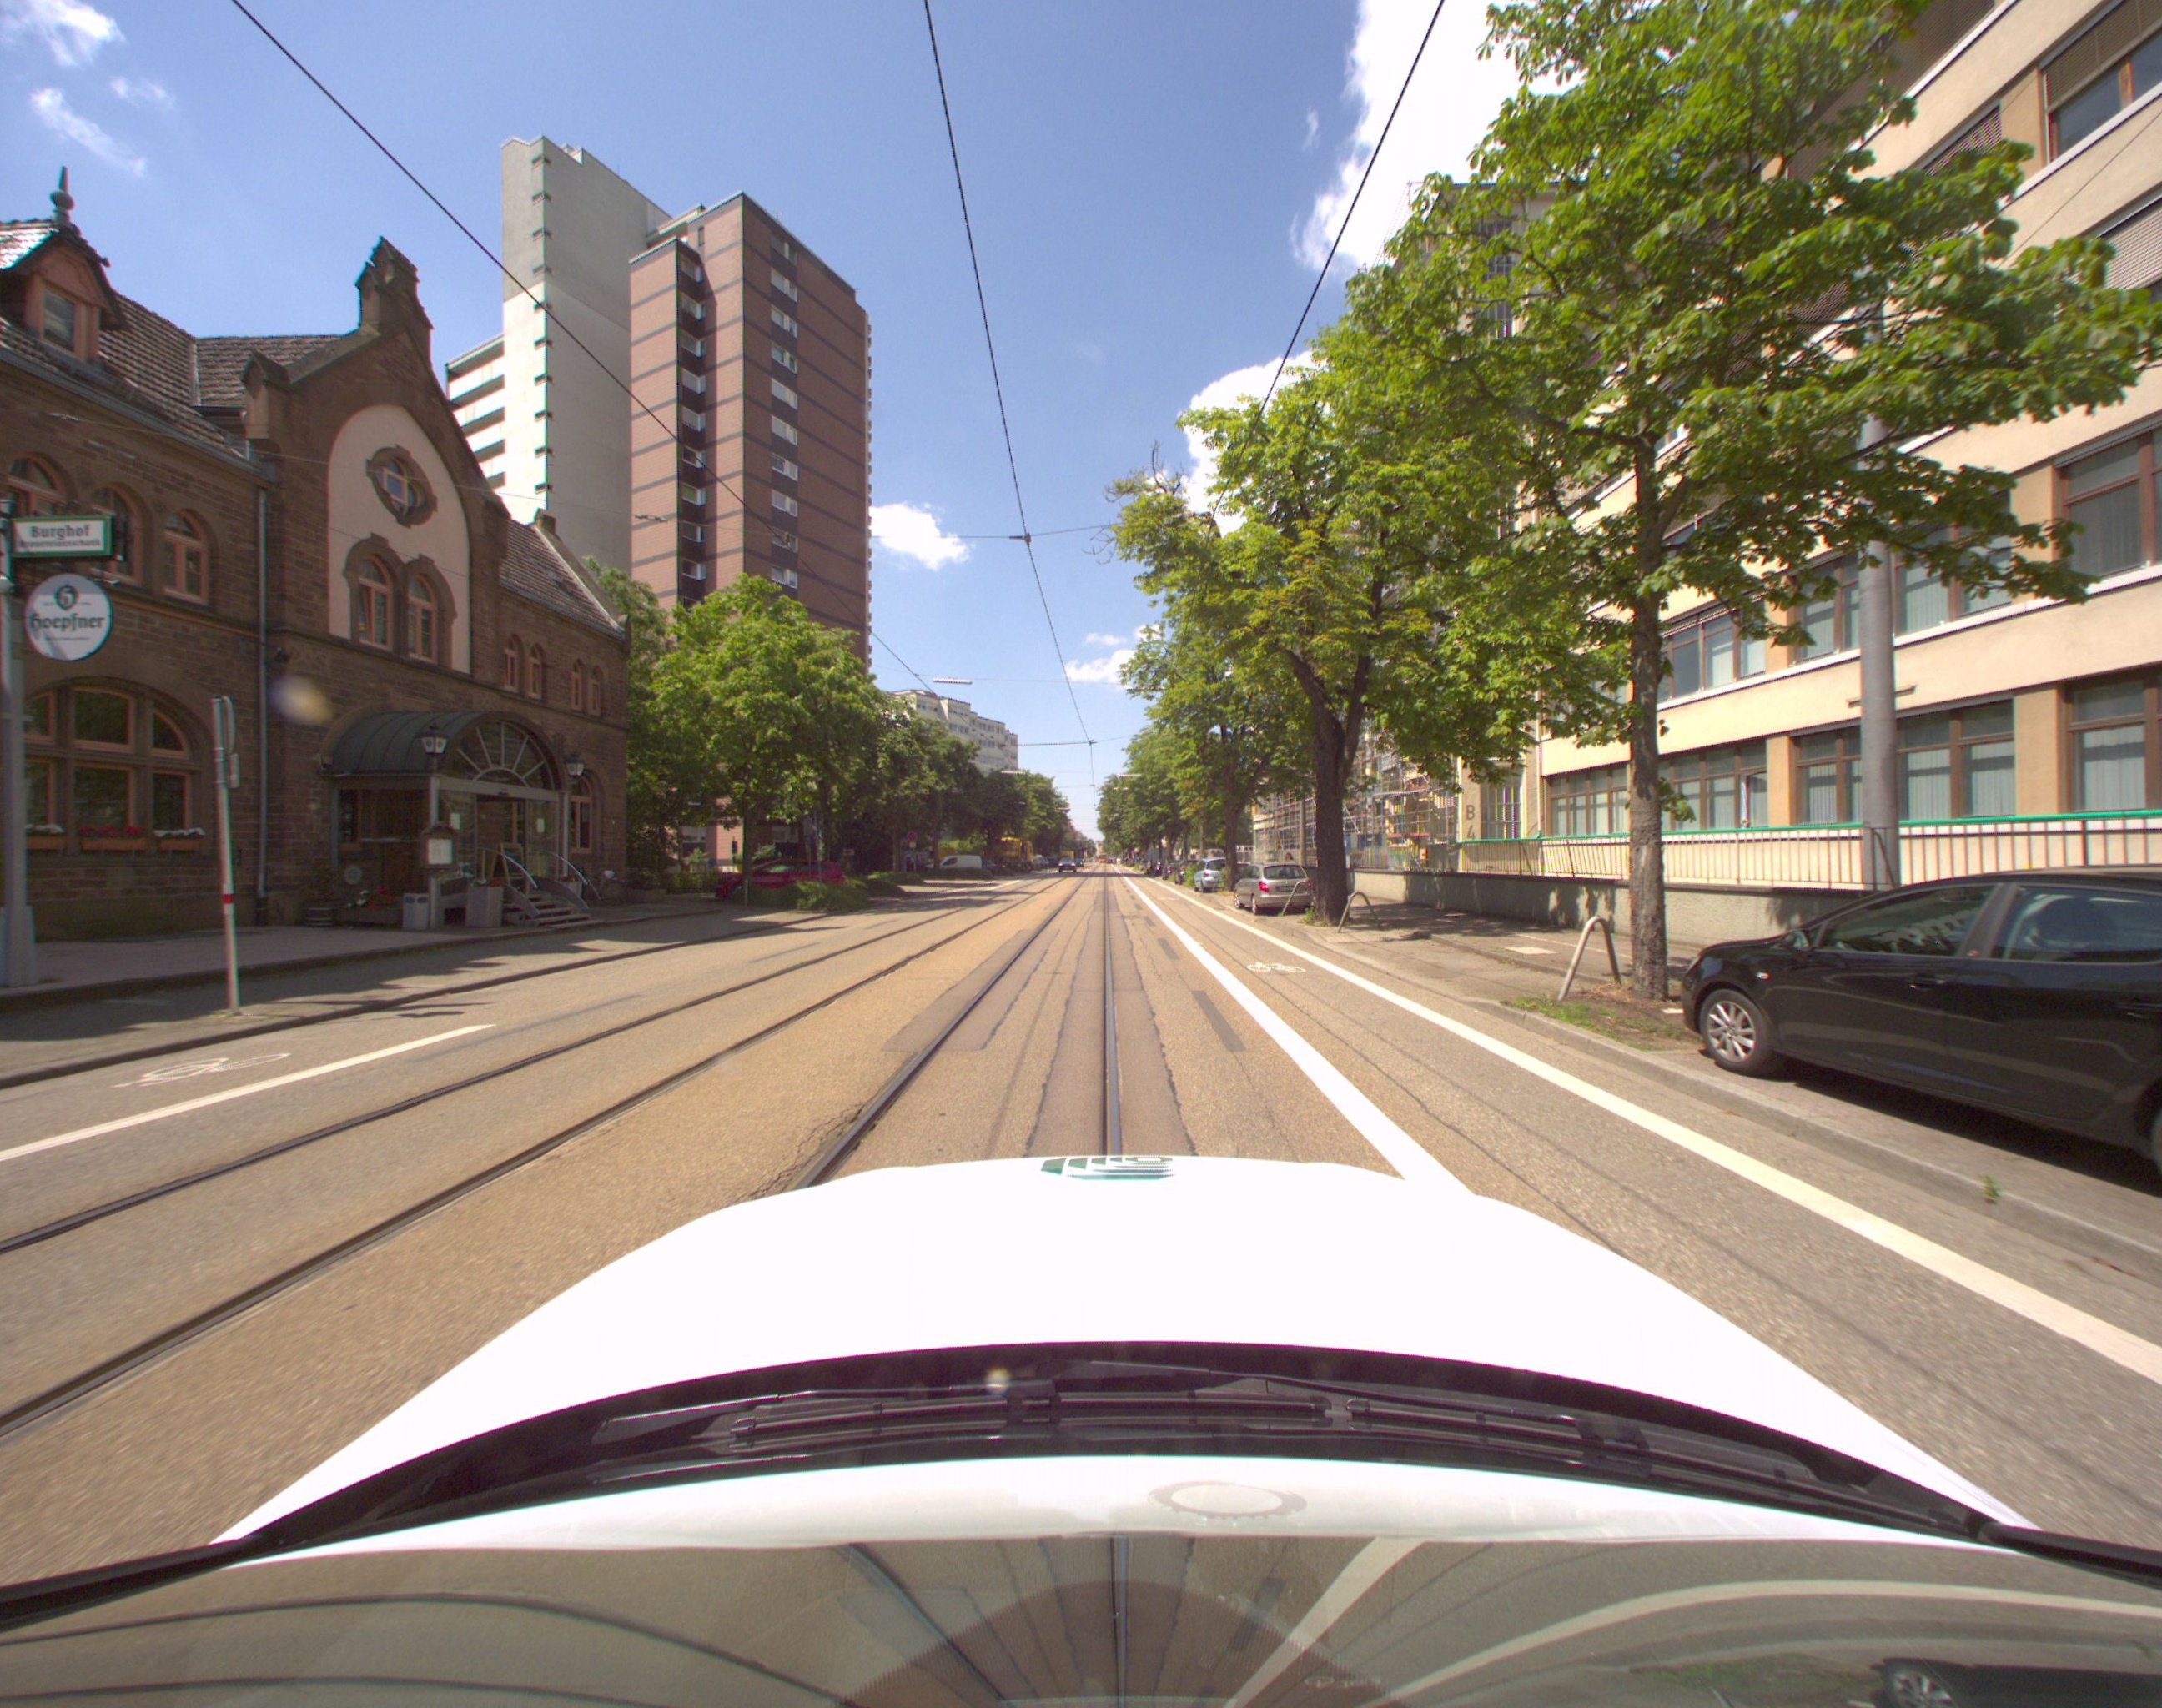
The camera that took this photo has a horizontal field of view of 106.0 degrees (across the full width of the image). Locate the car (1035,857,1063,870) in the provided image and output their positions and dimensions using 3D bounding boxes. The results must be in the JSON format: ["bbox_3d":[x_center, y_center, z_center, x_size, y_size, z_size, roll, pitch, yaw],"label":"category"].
[{"bbox_3d":[-5.819,1.726,148.097,4.785,2.062,2.003,-2,-1,-38],"label":"car"}]

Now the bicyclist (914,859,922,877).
[{"bbox_3d":[-13.165,1.126,65.687,0.479,1.481,0.780,0,-1,0],"label":"bicyclist"}]

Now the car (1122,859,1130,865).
[{"bbox_3d":[10.554,1.933,192.674,1.704,1.423,4.310,-2,-1,1],"label":"car"}]

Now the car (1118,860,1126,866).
[{"bbox_3d":[10.611,2.418,210.634,1.704,1.423,4.310,-2,-1,1],"label":"car"}]

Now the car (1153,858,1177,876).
[{"bbox_3d":[7.022,1.060,68.443,1.816,1.471,4.405,-1,0,4],"label":"car"}]

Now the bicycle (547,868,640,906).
[{"bbox_3d":[-13.049,0.895,21.859,1.999,0.891,0.594,4,-1,-16],"label":"bicycle"}]

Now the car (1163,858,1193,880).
[{"bbox_3d":[6.765,1.027,57.308,1.817,1.471,4.489,-1,0,3],"label":"car"}]

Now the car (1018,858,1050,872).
[{"bbox_3d":[-6.997,1.626,121.972,1.898,1.935,4.785,-4,-1,44],"label":"car"}]

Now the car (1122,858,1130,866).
[{"bbox_3d":[9.508,1.620,173.546,1.586,1.617,3.908,-2,-1,1],"label":"car"}]

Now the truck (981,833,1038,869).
[{"bbox_3d":[-7.967,-0.273,92.481,2.695,3.842,11.009,0,-1,16],"label":"truck"}]

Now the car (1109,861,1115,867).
[{"bbox_3d":[8.342,2.677,218.811,1.774,1.346,3.417,-1,-1,2],"label":"car"}]

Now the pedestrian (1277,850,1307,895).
[{"bbox_3d":[7.691,0.662,29.698,0.797,1.589,0.919,-2,0,0],"label":"pedestrian"}]

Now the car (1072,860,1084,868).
[{"bbox_3d":[-0.514,1.637,134.188,1.767,1.397,4.289,-2,0,2],"label":"car"}]

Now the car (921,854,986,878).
[{"bbox_3d":[-9.846,0.902,62.929,4.563,1.791,1.882,1,0,-31],"label":"car"}]

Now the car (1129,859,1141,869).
[{"bbox_3d":[8.776,1.633,132.347,1.634,1.485,3.870,-2,-1,-1],"label":"car"}]

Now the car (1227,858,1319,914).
[{"bbox_3d":[5.701,0.896,24.746,1.666,1.499,4.363,-1,0,-1],"label":"car"}]

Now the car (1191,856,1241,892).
[{"bbox_3d":[6.207,0.881,37.733,1.665,1.517,4.202,-1,0,1],"label":"car"}]

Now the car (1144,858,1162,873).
[{"bbox_3d":[7.687,1.228,86.644,1.638,1.534,3.948,-1,0,1],"label":"car"}]

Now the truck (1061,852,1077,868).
[{"bbox_3d":[-2.128,1.058,148.422,2.350,2.852,7.384,-2,0,3],"label":"truck"}]

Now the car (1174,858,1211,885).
[{"bbox_3d":[6.402,0.973,47.150,1.665,1.438,4.042,-1,0,1],"label":"car"}]

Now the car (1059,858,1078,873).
[{"bbox_3d":[-1.333,1.254,90.166,1.824,1.681,4.186,-1,0,2],"label":"car"}]

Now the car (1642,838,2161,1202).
[{"bbox_3d":[5.263,0.671,4.461,1.665,1.489,3.981,-1,0,1],"label":"car"}]

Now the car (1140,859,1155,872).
[{"bbox_3d":[8.043,1.372,98.440,1.637,1.534,3.788,-1,0,3],"label":"car"}]

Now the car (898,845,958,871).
[{"bbox_3d":[-15.785,0.482,84.390,2.157,2.566,6.765,-1,-2,31],"label":"car"}]

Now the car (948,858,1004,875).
[{"bbox_3d":[-8.980,1.097,69.830,4.467,1.394,1.753,1,0,-37],"label":"car"}]

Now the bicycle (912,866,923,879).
[{"bbox_3d":[-13.172,1.495,65.740,0.516,1.047,1.876,0,0,0],"label":"bicycle"}]

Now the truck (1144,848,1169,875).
[{"bbox_3d":[7.281,0.684,78.872,2.007,2.489,5.957,-1,0,1],"label":"truck"}]

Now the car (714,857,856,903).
[{"bbox_3d":[-11.013,0.926,30.320,4.790,1.566,1.984,0,-1,-27],"label":"car"}]
